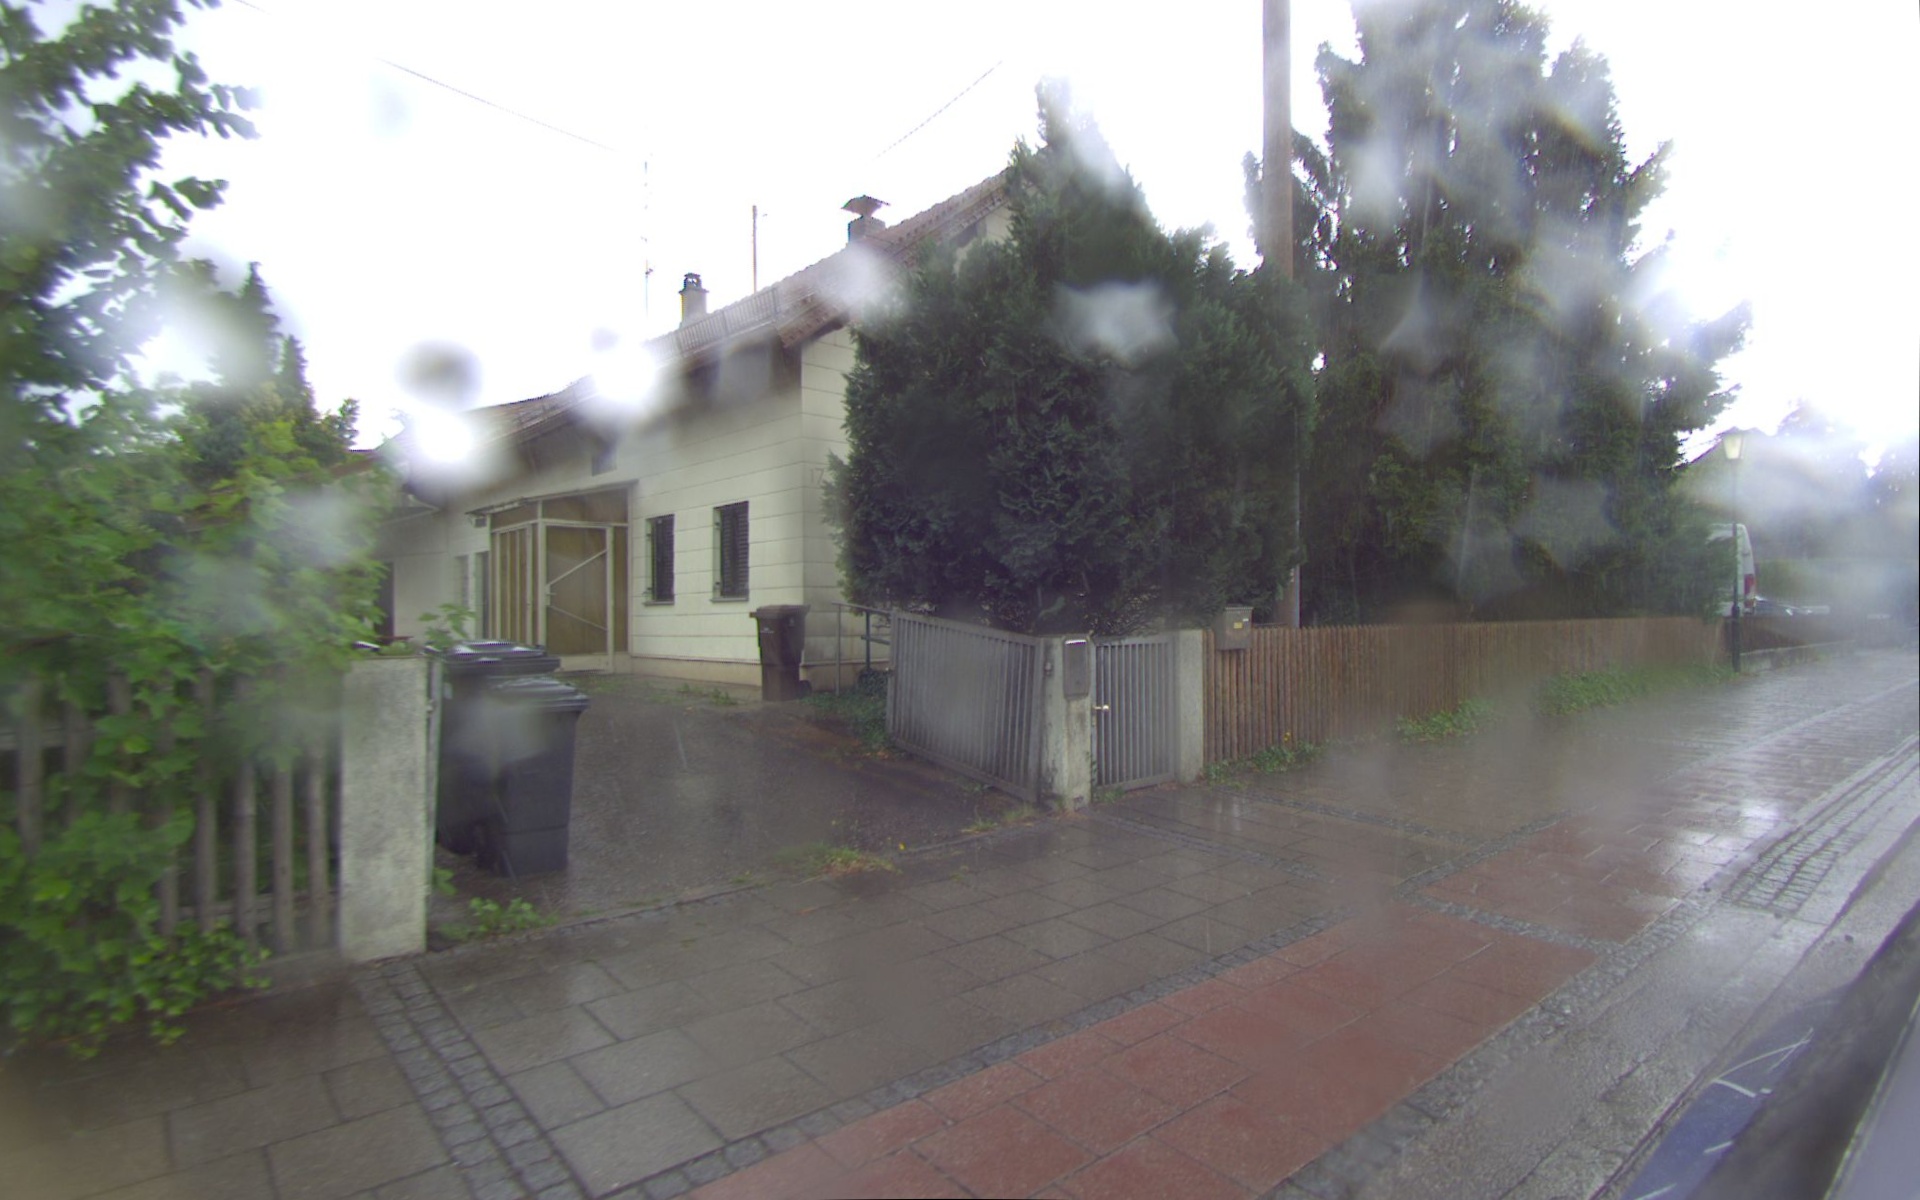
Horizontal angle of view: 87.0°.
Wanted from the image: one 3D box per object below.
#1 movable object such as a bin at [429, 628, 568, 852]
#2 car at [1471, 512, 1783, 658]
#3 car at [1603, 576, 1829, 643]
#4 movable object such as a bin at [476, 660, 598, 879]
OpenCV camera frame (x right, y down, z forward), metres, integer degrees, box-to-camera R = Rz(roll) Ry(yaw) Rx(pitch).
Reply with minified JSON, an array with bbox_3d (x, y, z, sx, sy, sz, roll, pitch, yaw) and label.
[{"bbox_3d":[-2.461,0.705,5.388,0.543,1.053,0.576,0,3,-39],"label":"movable object such as a bin"},{"bbox_3d":[14.086,-0.404,21.616,5.300,2.761,1.971,3,2,41],"label":"car"},{"bbox_3d":[19.165,0.176,25.776,4.429,1.438,1.802,4,3,43],"label":"car"},{"bbox_3d":[-2.065,0.795,4.935,0.439,0.947,0.434,0,2,-39],"label":"movable object such as a bin"}]
